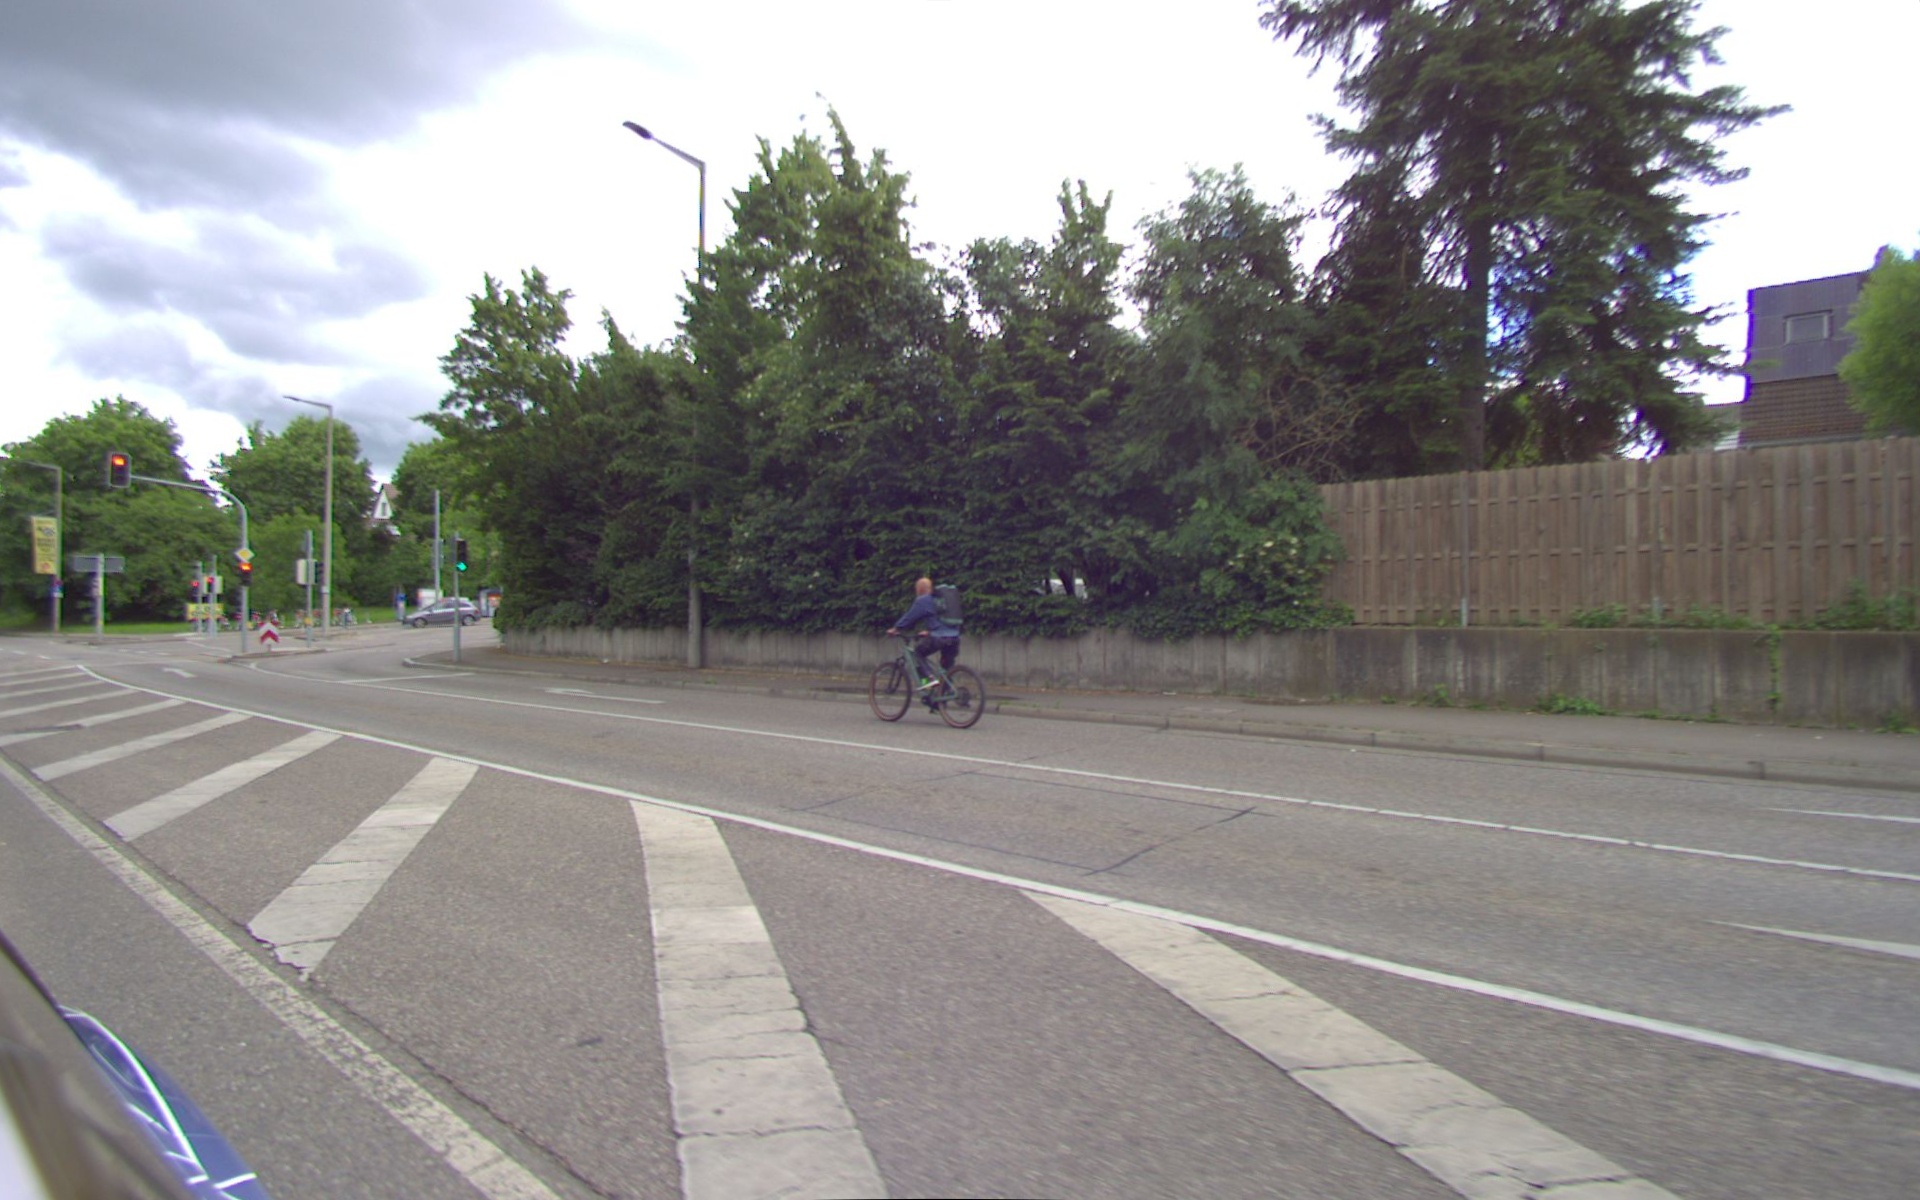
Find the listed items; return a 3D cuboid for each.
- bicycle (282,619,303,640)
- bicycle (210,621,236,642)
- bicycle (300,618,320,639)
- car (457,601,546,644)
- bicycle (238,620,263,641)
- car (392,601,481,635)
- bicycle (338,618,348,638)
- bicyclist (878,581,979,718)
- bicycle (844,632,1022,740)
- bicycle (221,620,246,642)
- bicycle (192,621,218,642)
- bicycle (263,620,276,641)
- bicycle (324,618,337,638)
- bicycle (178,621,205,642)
[{"bbox_3d":[-42.729,1.870,64.809,0.536,1.262,1.941,-1,1,-16],"label":"bicycle"},{"bbox_3d":[-46.281,1.958,63.570,0.537,1.262,1.940,-1,1,-11],"label":"bicycle"},{"bbox_3d":[-41.897,1.848,65.226,0.536,1.262,1.941,-1,1,-16],"label":"bicycle"},{"bbox_3d":[-19.265,0.937,42.755,1.879,1.691,5.086,0,-1,-5],"label":"car"},{"bbox_3d":[-44.737,1.923,63.851,0.537,1.262,1.940,-1,1,-11],"label":"bicycle"},{"bbox_3d":[-32.003,1.074,61.928,4.666,1.867,2.006,-2,1,-33],"label":"car"},{"bbox_3d":[-40.317,1.804,66.139,0.536,1.262,1.941,-1,1,-32],"label":"bicycle"},{"bbox_3d":[-0.372,0.563,11.947,0.977,1.546,0.636,-2,0,37],"label":"bicyclist"},{"bbox_3d":[-0.356,0.969,11.938,2.144,1.154,0.636,-2,0,37],"label":"bicycle"},{"bbox_3d":[-45.599,1.944,63.551,0.537,1.262,1.940,-1,1,-11],"label":"bicycle"},{"bbox_3d":[-47.174,1.959,63.243,0.537,1.262,1.940,-1,0,-11],"label":"bicycle"},{"bbox_3d":[-43.856,1.900,64.275,0.536,1.262,1.941,-1,1,-32],"label":"bicycle"},{"bbox_3d":[-40.942,1.821,65.814,0.536,1.262,1.942,-1,1,-26],"label":"bicycle"},{"bbox_3d":[-47.809,1.944,62.962,0.537,1.262,1.940,-1,1,-11],"label":"bicycle"}]
